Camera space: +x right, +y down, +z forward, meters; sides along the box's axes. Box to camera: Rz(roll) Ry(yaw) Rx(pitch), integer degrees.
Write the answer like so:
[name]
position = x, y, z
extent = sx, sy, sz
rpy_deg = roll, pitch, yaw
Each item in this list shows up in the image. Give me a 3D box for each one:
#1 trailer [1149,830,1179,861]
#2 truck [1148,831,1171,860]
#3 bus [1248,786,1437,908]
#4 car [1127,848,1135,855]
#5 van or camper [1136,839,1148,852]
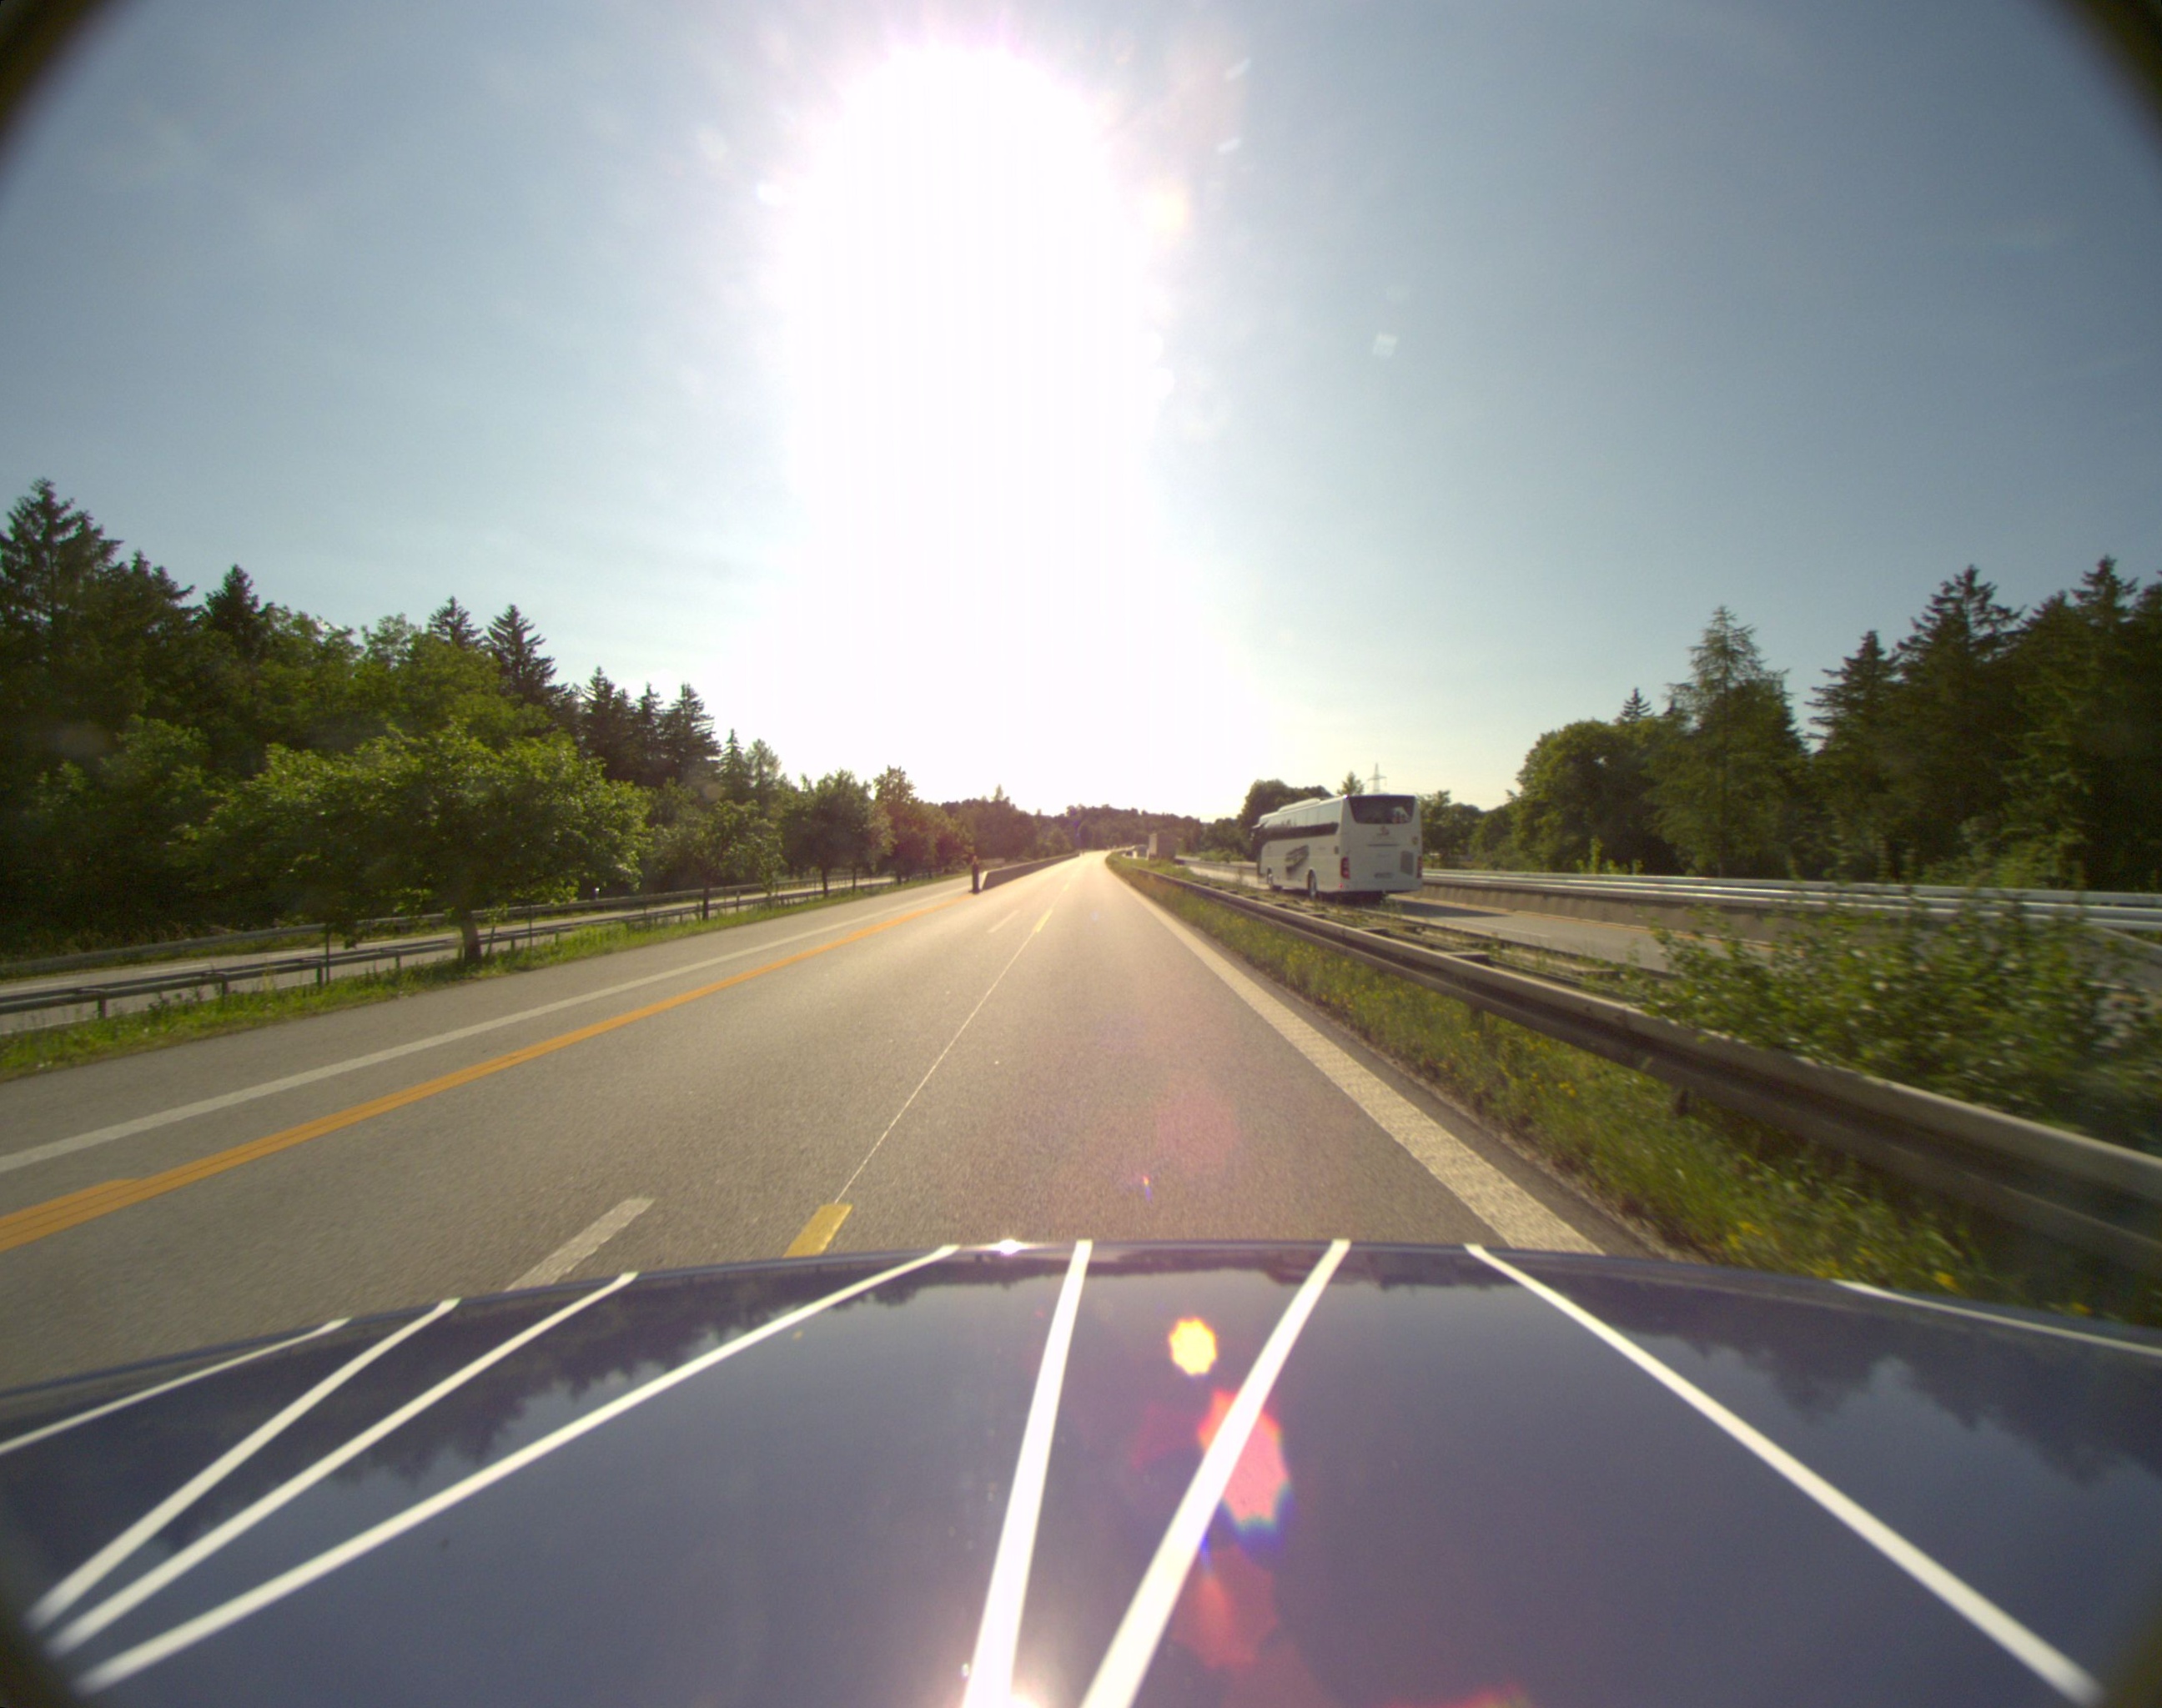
[trailer]
position = 11.352, -1.175, 105.378
extent = 2.748, 4.047, 13.995
rpy_deg = 2, 1, 1
[truck]
position = 11.494, -1.268, 111.637
extent = 2.777, 4.064, 5.475
rpy_deg = 2, 1, 1
[bus]
position = 9.372, -0.249, 29.548
extent = 2.889, 3.649, 12.916
rpy_deg = -1, 0, 0
[car]
position = 11.739, -0.676, 178.728
extent = 1.746, 1.521, 4.000
rpy_deg = 2, 1, 2
[van or camper]
position = 13.882, -1.895, 173.154
extent = 2.411, 2.933, 7.522
rpy_deg = 1, 1, 2
